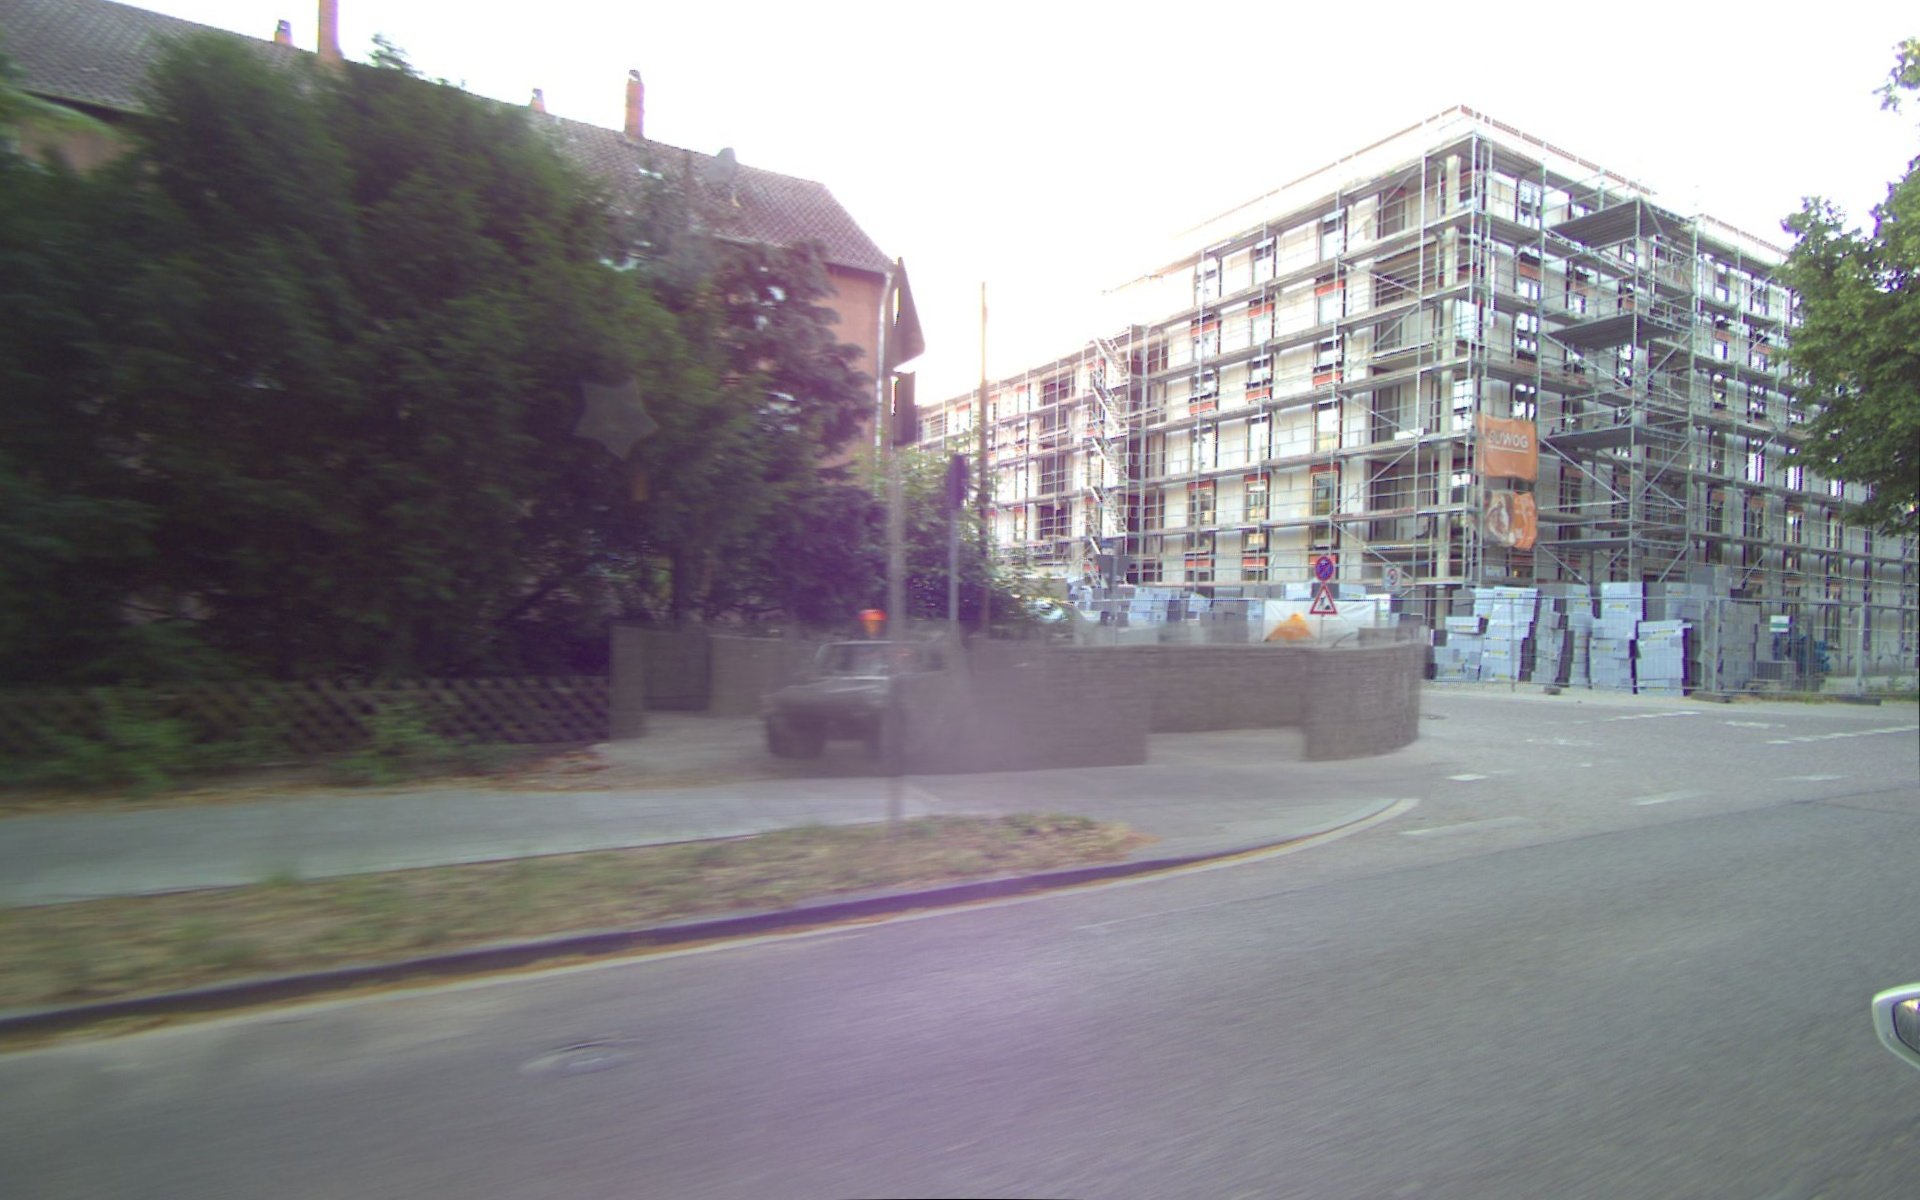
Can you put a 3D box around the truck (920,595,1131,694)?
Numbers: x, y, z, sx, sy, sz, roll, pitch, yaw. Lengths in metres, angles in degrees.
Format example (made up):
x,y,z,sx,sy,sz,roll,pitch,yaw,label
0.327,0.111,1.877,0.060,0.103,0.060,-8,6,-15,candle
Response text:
x,y,z,sx,sy,sz,roll,pitch,yaw,label
1.275,0.954,22.715,2.017,1.938,5.618,3,-2,-29,truck
